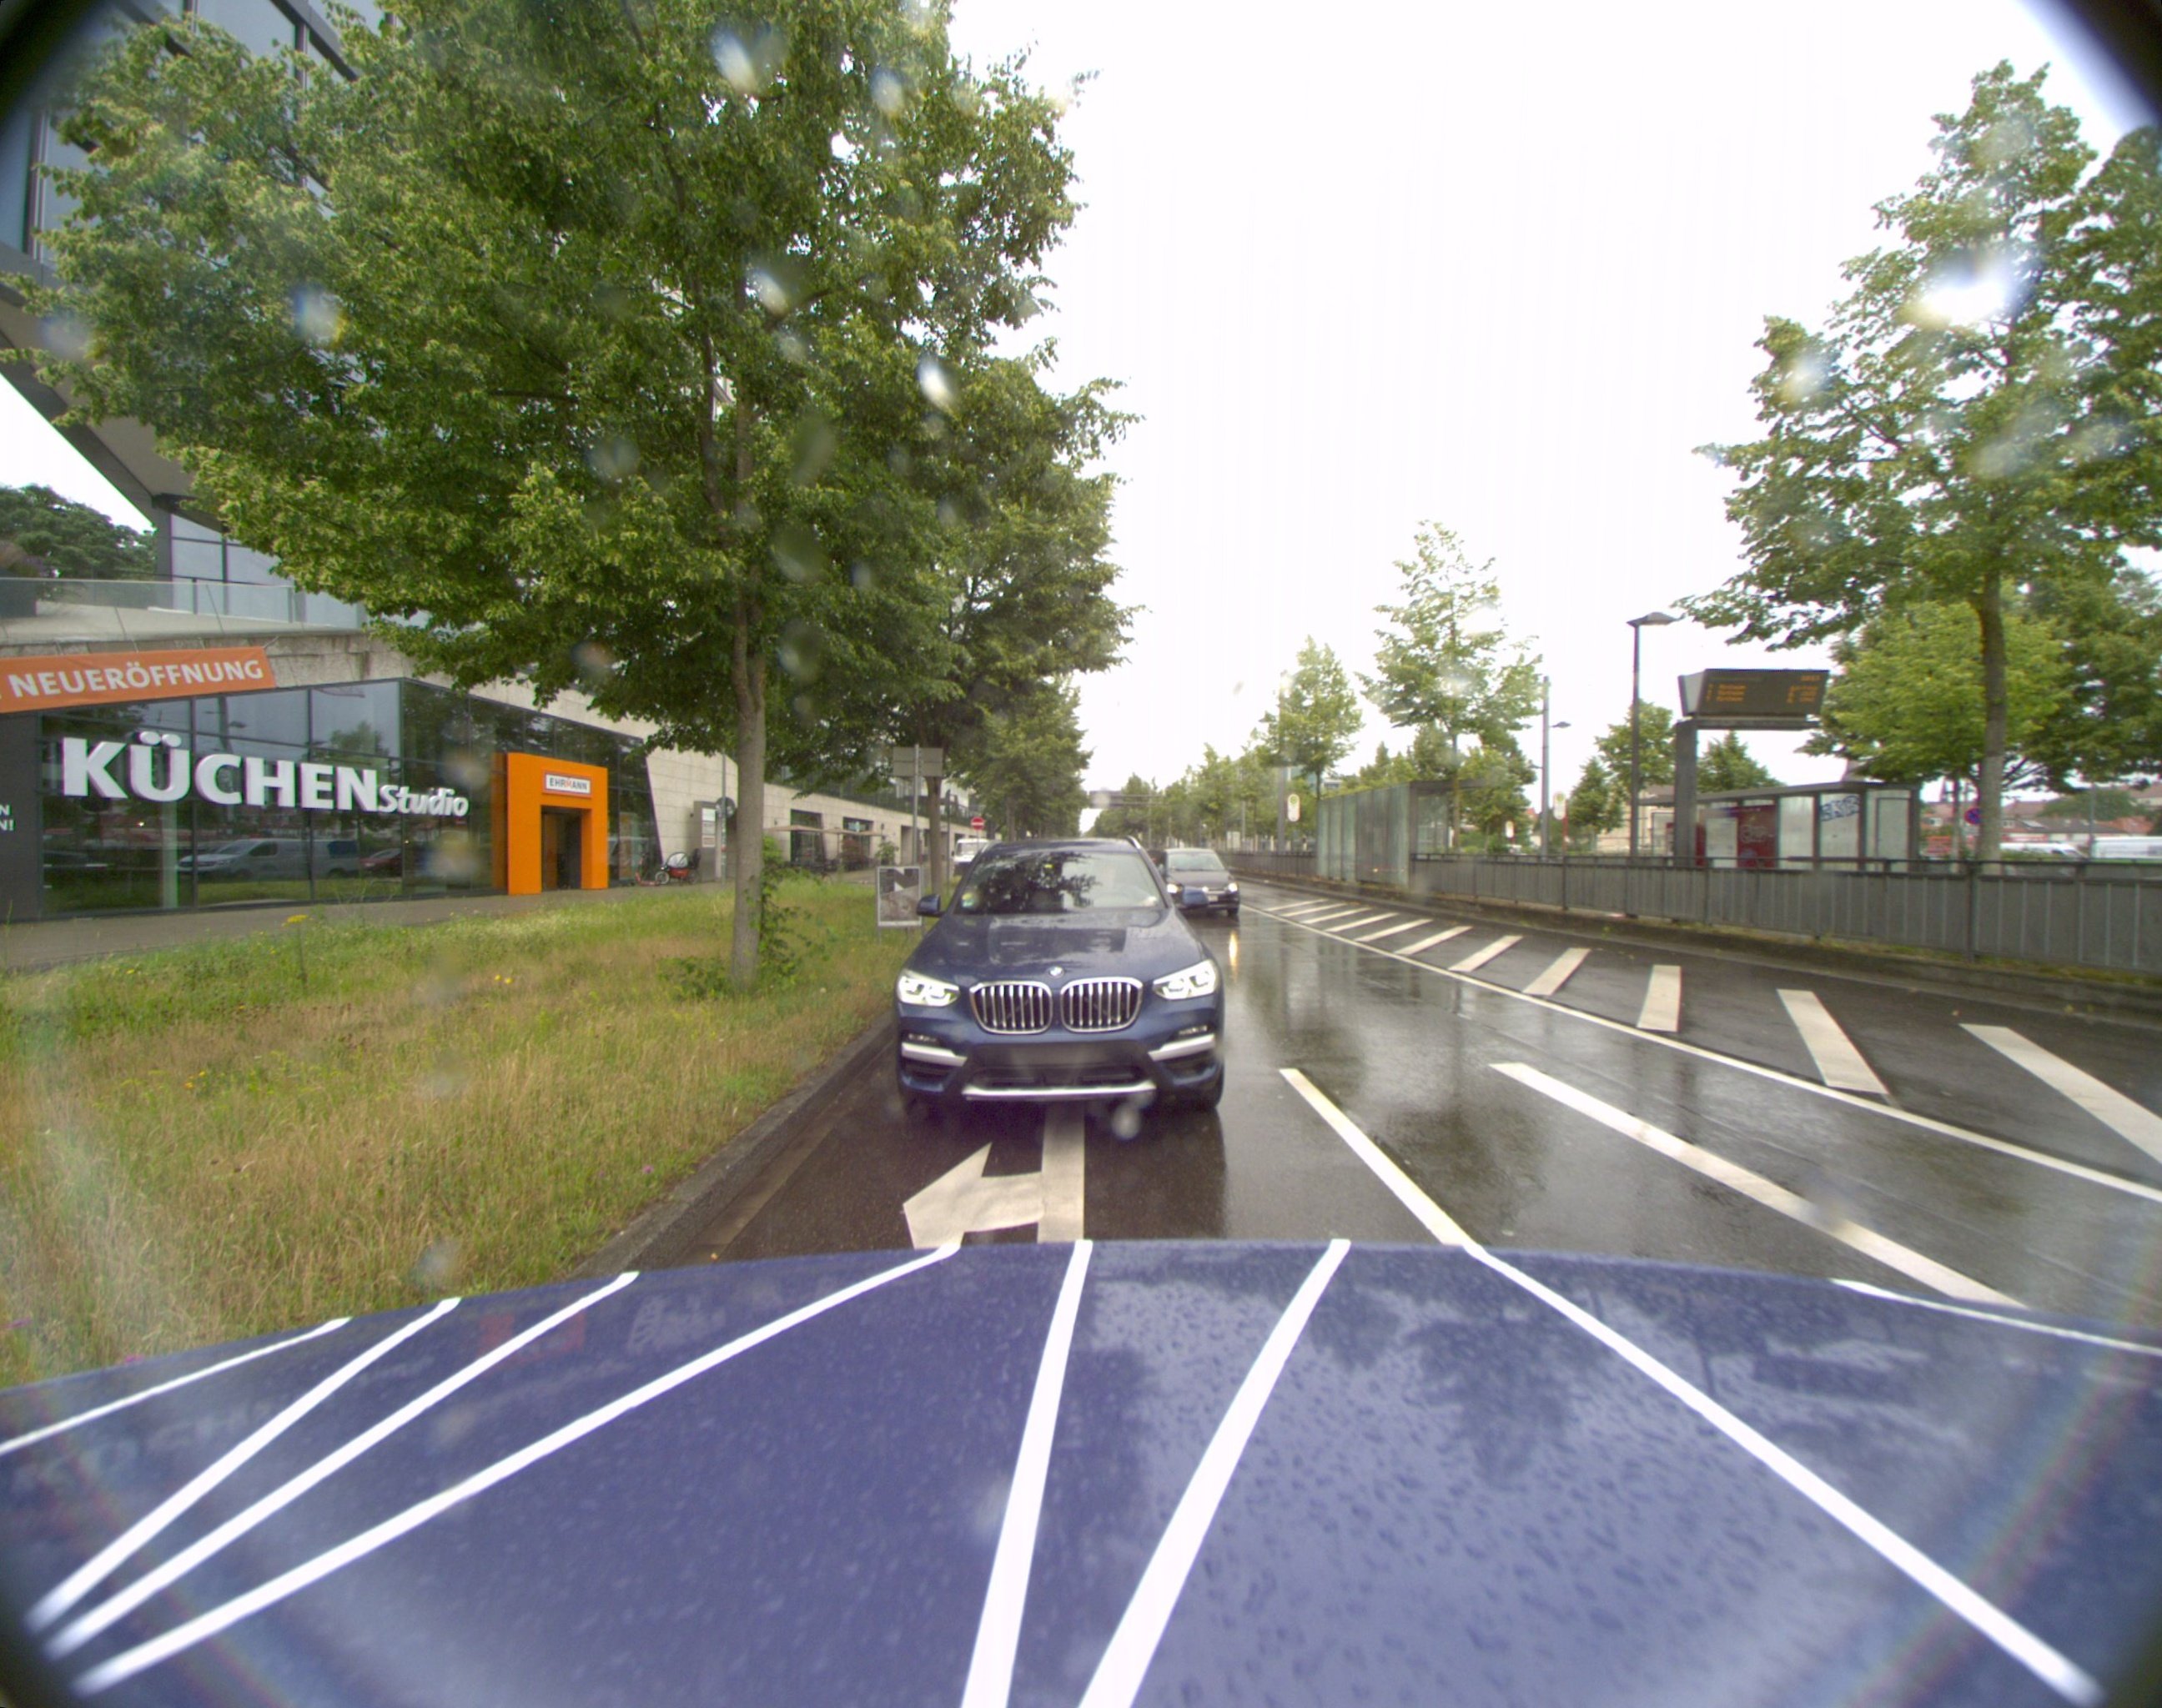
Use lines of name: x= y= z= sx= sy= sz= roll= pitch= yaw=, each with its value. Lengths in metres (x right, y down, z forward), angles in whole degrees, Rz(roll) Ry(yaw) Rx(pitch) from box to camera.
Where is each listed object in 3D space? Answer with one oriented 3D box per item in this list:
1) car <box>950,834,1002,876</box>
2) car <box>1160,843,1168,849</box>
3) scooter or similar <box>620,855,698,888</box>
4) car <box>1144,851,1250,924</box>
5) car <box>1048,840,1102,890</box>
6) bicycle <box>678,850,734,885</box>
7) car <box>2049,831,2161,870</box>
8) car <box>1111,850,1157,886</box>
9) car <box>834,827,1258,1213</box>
car: x=-5.917 y=0.048 z=43.473 sx=2.084 sy=2.189 sz=5.097 roll=-2 pitch=1 yaw=1
car: x=26.725 y=-2.616 z=244.712 sx=1.998 sy=2.002 sz=4.000 roll=-2 pitch=1 yaw=2
scooter or similar: x=-15.542 y=0.630 z=28.117 sx=0.810 sy=1.093 sz=2.617 roll=-2 pitch=1 yaw=18
car: x=2.745 y=0.732 z=18.974 sx=1.788 sy=1.509 sz=4.331 roll=-2 pitch=1 yaw=-2
car: x=-0.184 y=0.361 z=27.752 sx=1.788 sy=1.638 sz=3.999 roll=-2 pitch=1 yaw=1
bicycle: x=-15.334 y=0.530 z=31.193 sx=0.882 sy=1.339 sz=2.696 roll=-2 pitch=1 yaw=1
car: x=70.119 y=-0.271 z=50.189 sx=2.356 sy=2.462 sz=7.636 roll=-2 pitch=1 yaw=-3
car: x=2.345 y=0.577 z=34.421 sx=1.788 sy=1.450 sz=4.315 roll=-2 pitch=1 yaw=1
car: x=-0.136 y=0.810 z=5.741 sx=1.916 sy=1.736 sz=4.384 roll=-2 pitch=-1 yaw=1
